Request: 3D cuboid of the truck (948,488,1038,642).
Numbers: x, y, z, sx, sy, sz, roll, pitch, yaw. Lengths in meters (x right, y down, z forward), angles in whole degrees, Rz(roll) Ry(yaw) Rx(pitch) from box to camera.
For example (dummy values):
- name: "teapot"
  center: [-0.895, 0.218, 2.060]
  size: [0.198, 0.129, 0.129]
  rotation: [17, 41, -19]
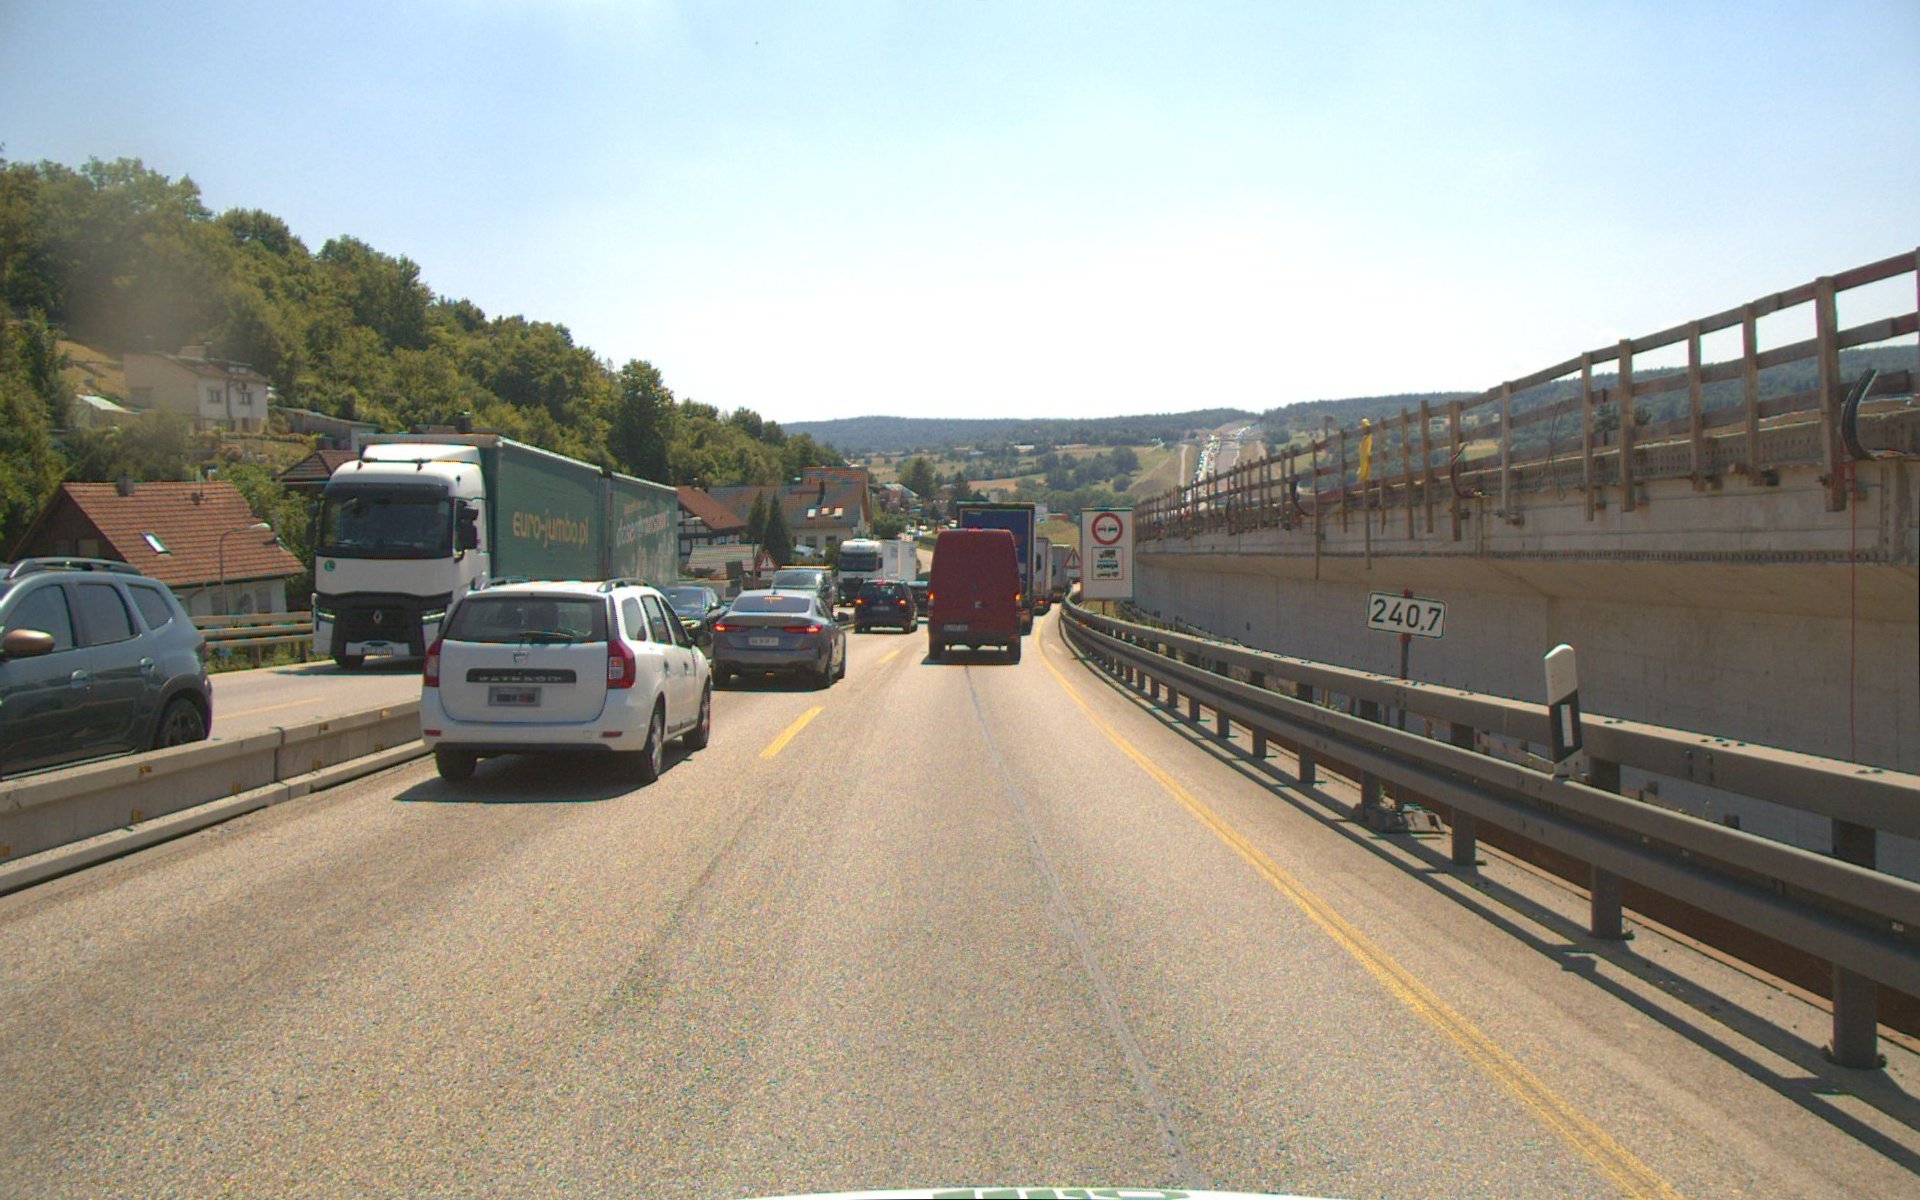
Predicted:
- name: "truck"
  center: [1.282, -1.087, 57.682]
  size: [2.728, 4.900, 9.688]
  rotation: [0, -1, 3]

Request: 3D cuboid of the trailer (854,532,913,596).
- name: "trailer"
  center: [-5.211, -2.445, 114.003]
  size: [2.940, 4.238, 9.022]
  rotation: [0, 0, 4]

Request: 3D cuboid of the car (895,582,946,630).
- name: "car"
  center: [-1.577, 0.263, 66.920]
  size: [1.693, 1.870, 4.002]
  rotation: [0, -1, 4]

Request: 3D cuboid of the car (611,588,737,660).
- name: "car"
  center: [-6.296, 0.516, 36.915]
  size: [1.862, 1.488, 4.758]
  rotation: [0, 0, 1]

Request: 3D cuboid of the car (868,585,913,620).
- name: "car"
  center: [-3.459, 0.141, 82.504]
  size: [1.548, 1.548, 4.156]
  rotation: [0, -2, 7]

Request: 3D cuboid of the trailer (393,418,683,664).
- name: "trailer"
  center: [-9.336, -1.070, 39.074]
  size: [2.775, 4.723, 14.582]
  rotation: [0, -1, 1]

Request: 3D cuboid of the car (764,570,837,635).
- name: "car"
  center: [-5.589, 0.093, 58.555]
  size: [1.952, 2.211, 4.833]
  rotation: [0, -1, 2]

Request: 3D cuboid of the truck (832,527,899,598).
- name: "truck"
  center: [-5.862, -2.318, 104.236]
  size: [2.915, 4.235, 10.551]
  rotation: [0, 1, 4]

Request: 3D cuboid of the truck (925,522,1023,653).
- name: "truck"
  center: [0.327, -0.233, 35.011]
  size: [1.952, 2.624, 4.000]
  rotation: [0, -1, 1]

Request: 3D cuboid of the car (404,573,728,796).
- name: "car"
  center: [-3.079, 0.603, 13.787]
  size: [1.618, 1.509, 4.266]
  rotation: [-2, 0, 0]

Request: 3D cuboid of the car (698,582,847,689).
- name: "car"
  center: [-2.789, 0.489, 25.452]
  size: [1.757, 1.511, 4.050]
  rotation: [0, 0, 1]

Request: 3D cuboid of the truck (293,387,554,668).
- name: "truck"
  center: [-9.602, -1.186, 30.315]
  size: [2.788, 4.660, 5.788]
  rotation: [0, -1, 1]

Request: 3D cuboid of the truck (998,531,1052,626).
- name: "truck"
  center: [3.619, -1.082, 89.923]
  size: [2.728, 4.900, 9.688]
  rotation: [0, -1, 3]

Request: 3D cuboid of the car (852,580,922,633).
- name: "car"
  center: [-2.272, 0.214, 52.326]
  size: [1.772, 1.636, 3.721]
  rotation: [0, -1, 4]

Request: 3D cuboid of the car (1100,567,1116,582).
- name: "car"
  center: [20.043, -3.445, 223.931]
  size: [2.086, 2.049, 4.003]
  rotation: [0, -1, 7]

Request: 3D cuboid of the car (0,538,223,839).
- name: "car"
  center: [-6.409, 0.502, 10.147]
  size: [1.917, 1.710, 4.114]
  rotation: [0, 0, 0]

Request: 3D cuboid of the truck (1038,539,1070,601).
- name: "truck"
  center: [6.926, -2.140, 121.071]
  size: [1.951, 4.458, 4.003]
  rotation: [0, -1, 9]
